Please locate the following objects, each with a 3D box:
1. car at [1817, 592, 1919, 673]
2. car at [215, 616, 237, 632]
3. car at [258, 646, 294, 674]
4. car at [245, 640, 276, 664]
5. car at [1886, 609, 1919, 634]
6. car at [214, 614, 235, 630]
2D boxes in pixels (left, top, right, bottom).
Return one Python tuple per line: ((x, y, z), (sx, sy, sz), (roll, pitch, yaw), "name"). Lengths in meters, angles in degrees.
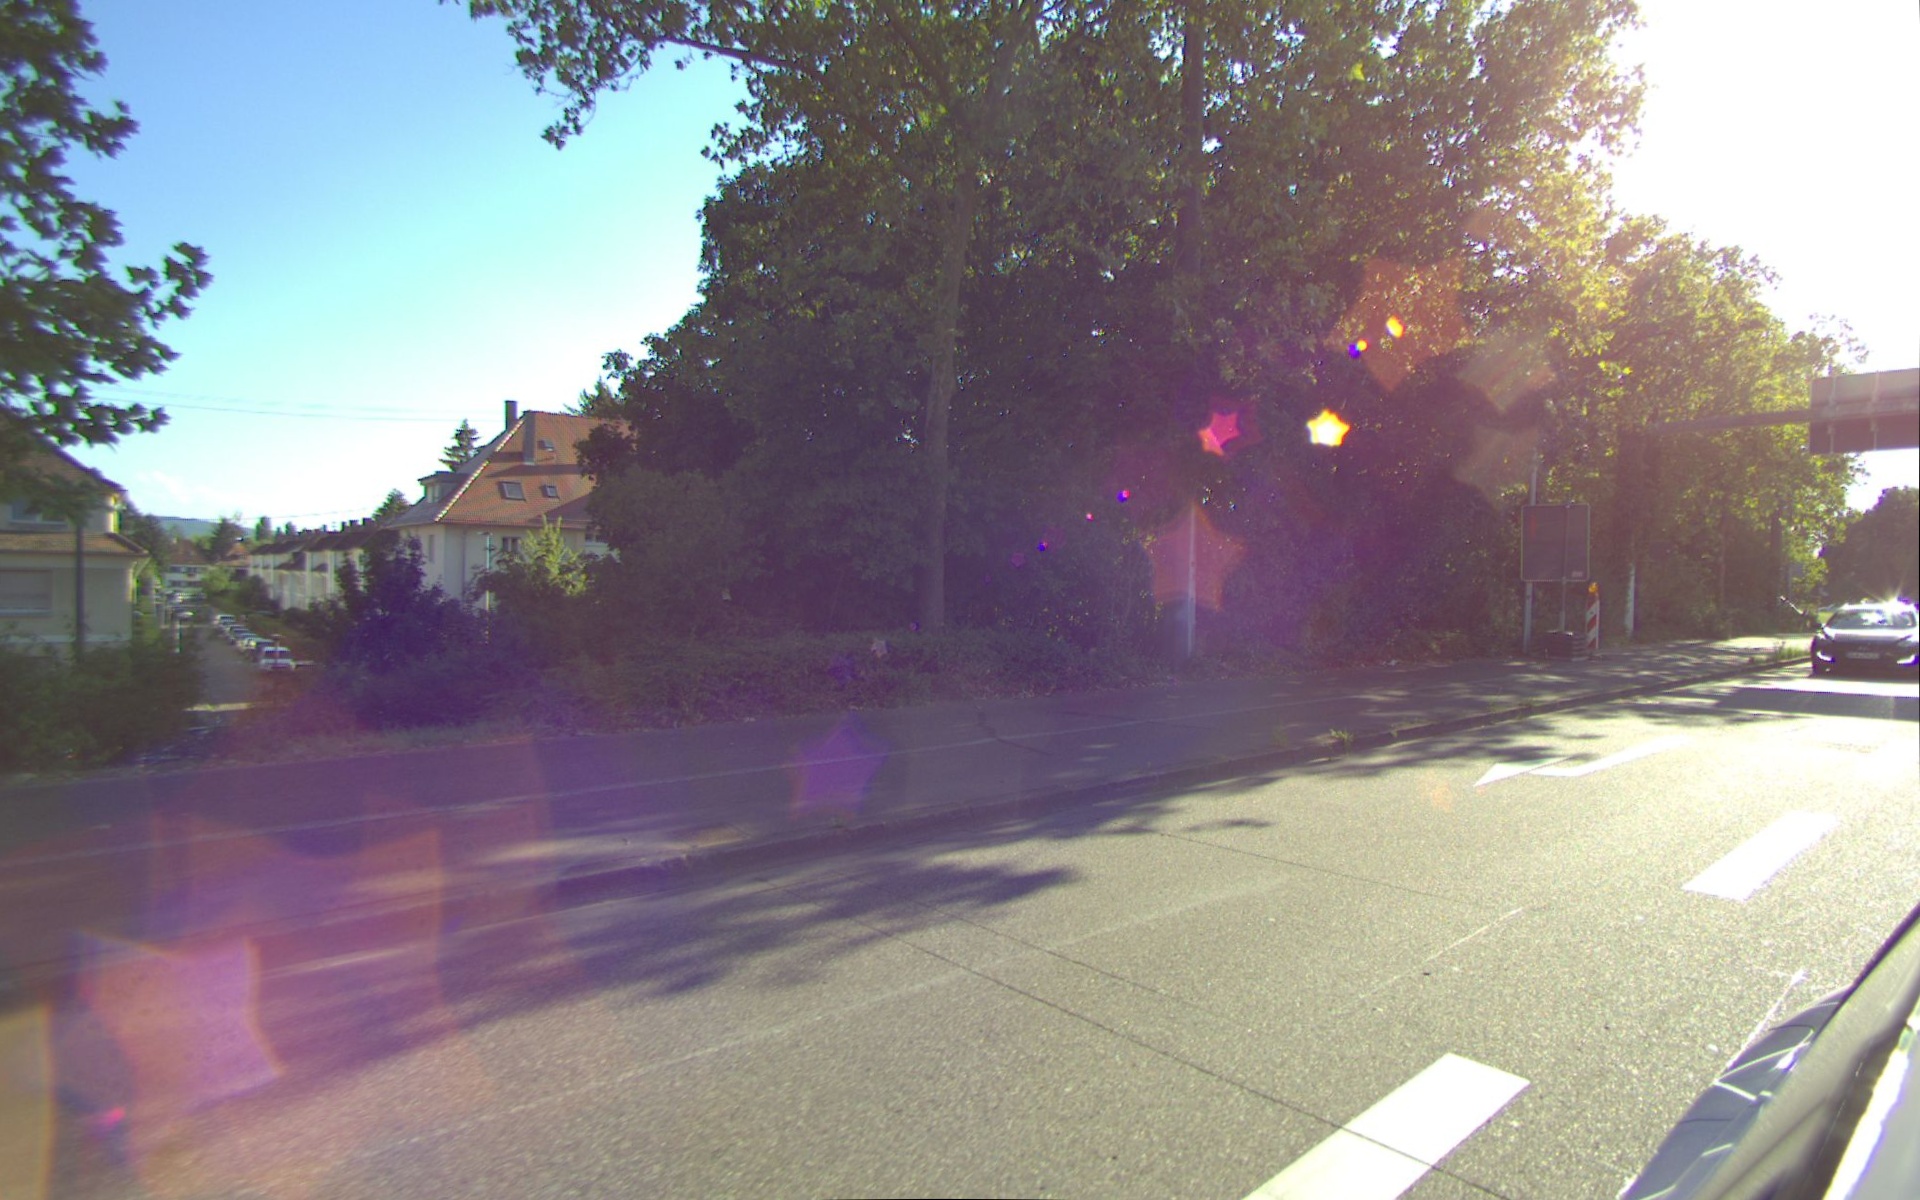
((19.780, 0.633, 21.513), (3.930, 1.558, 1.785), (0, 1, -41), "car")
((-76.677, 2.471, 105.732), (1.767, 1.529, 3.998), (0, 1, -38), "car")
((-46.610, 4.071, 68.899), (1.767, 1.529, 3.998), (0, 1, -38), "car")
((-54.156, 3.976, 78.302), (1.767, 1.529, 3.998), (0, 1, -38), "car")
((62.300, 1.383, 66.508), (3.932, 1.482, 1.742), (0, 2, -43), "car")
((-81.464, 2.404, 112.120), (1.767, 1.529, 3.998), (0, 1, -38), "car")
